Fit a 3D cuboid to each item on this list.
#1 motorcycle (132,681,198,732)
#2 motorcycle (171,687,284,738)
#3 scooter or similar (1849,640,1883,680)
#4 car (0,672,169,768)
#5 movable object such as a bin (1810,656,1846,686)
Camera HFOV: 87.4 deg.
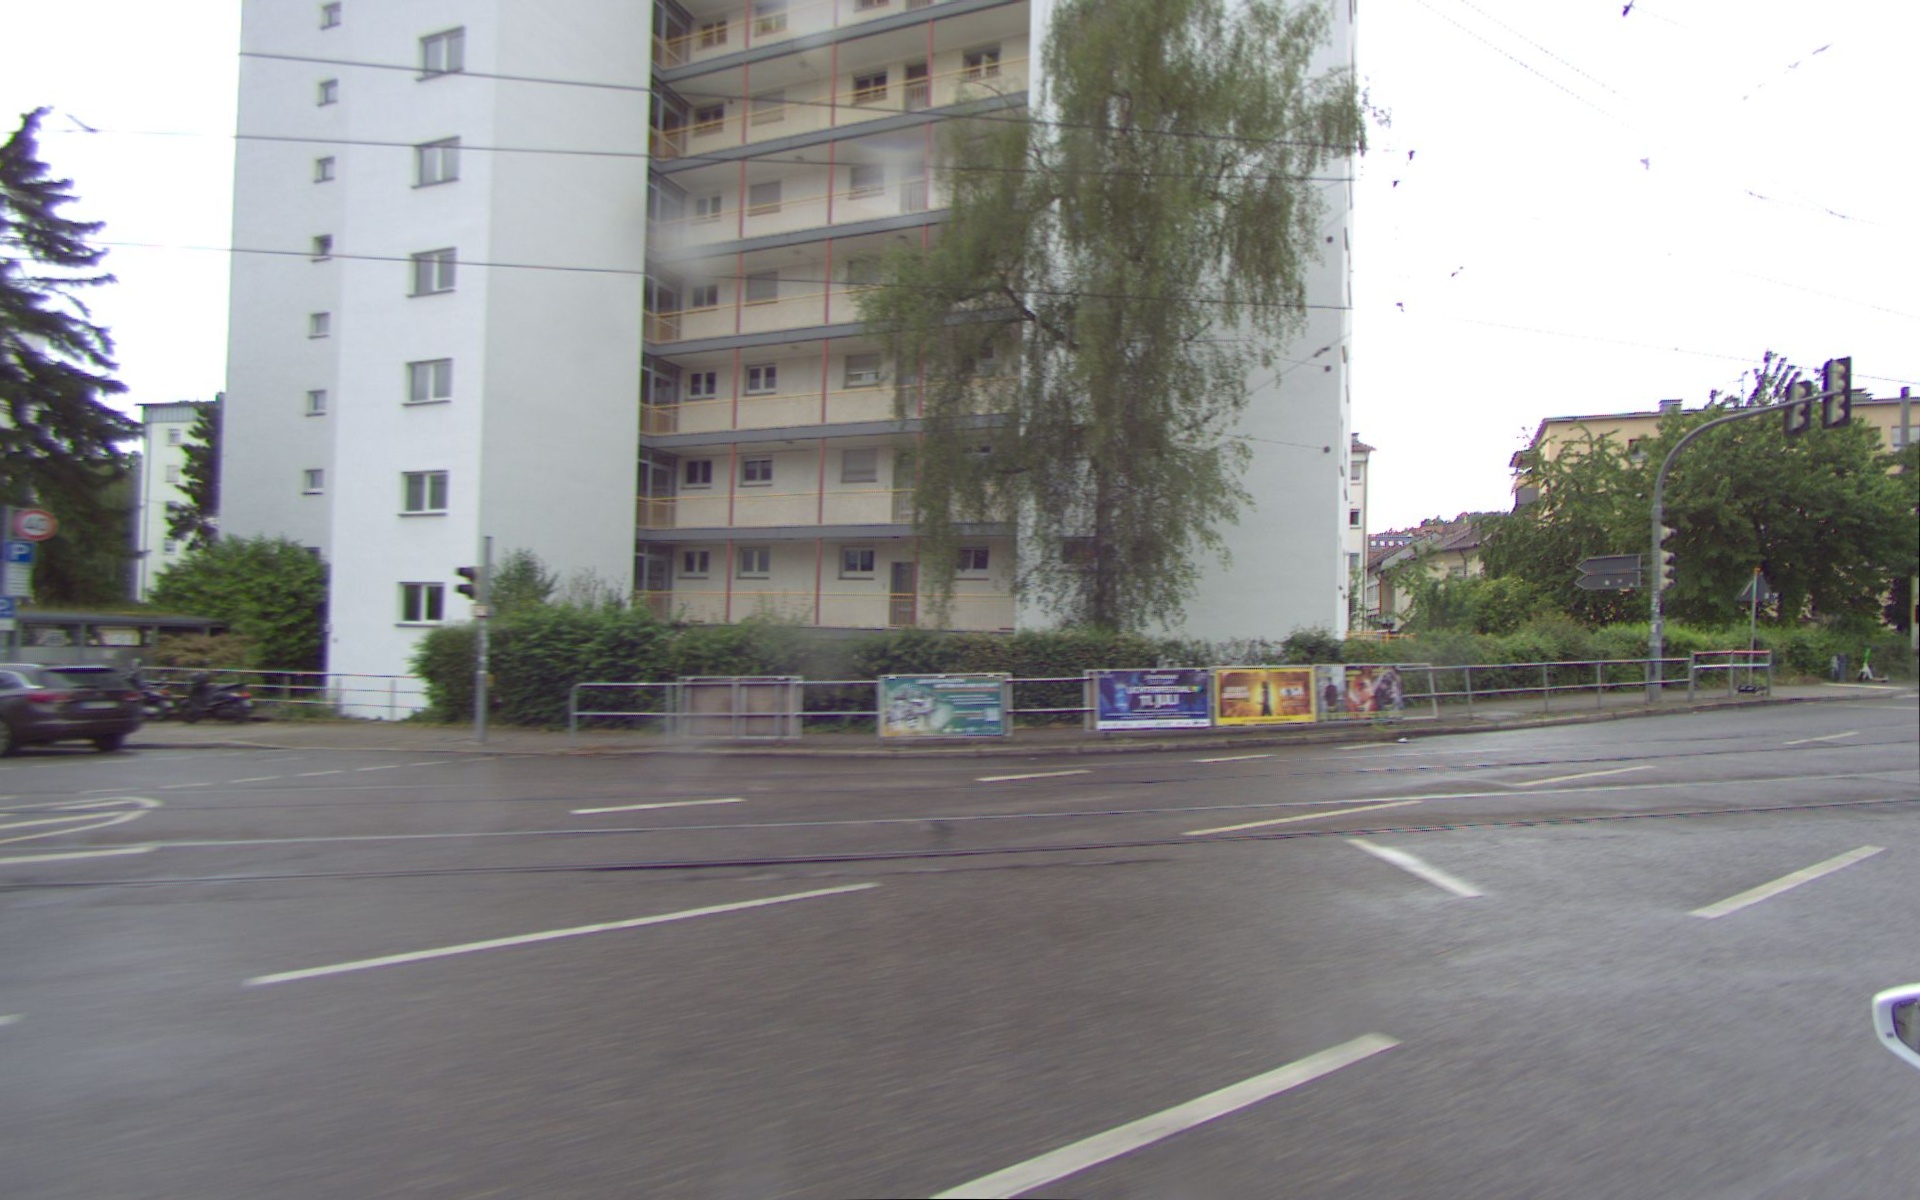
[{"bbox_3d":[-17.930,2.364,22.631,0.894,0.952,2.206,4,-2,-45],"label":"motorcycle"},{"bbox_3d":[-15.604,2.381,21.412,2.191,0.953,0.779,-1,0,17],"label":"motorcycle"},{"bbox_3d":[28.669,1.901,31.782,1.587,1.200,0.567,3,-2,-40],"label":"scooter or similar"},{"bbox_3d":[-15.999,1.992,16.970,4.402,1.479,1.876,-2,-4,16],"label":"car"},{"bbox_3d":[26.741,2.191,30.955,0.753,0.893,0.682,3,-2,-36],"label":"movable object such as a bin"}]
